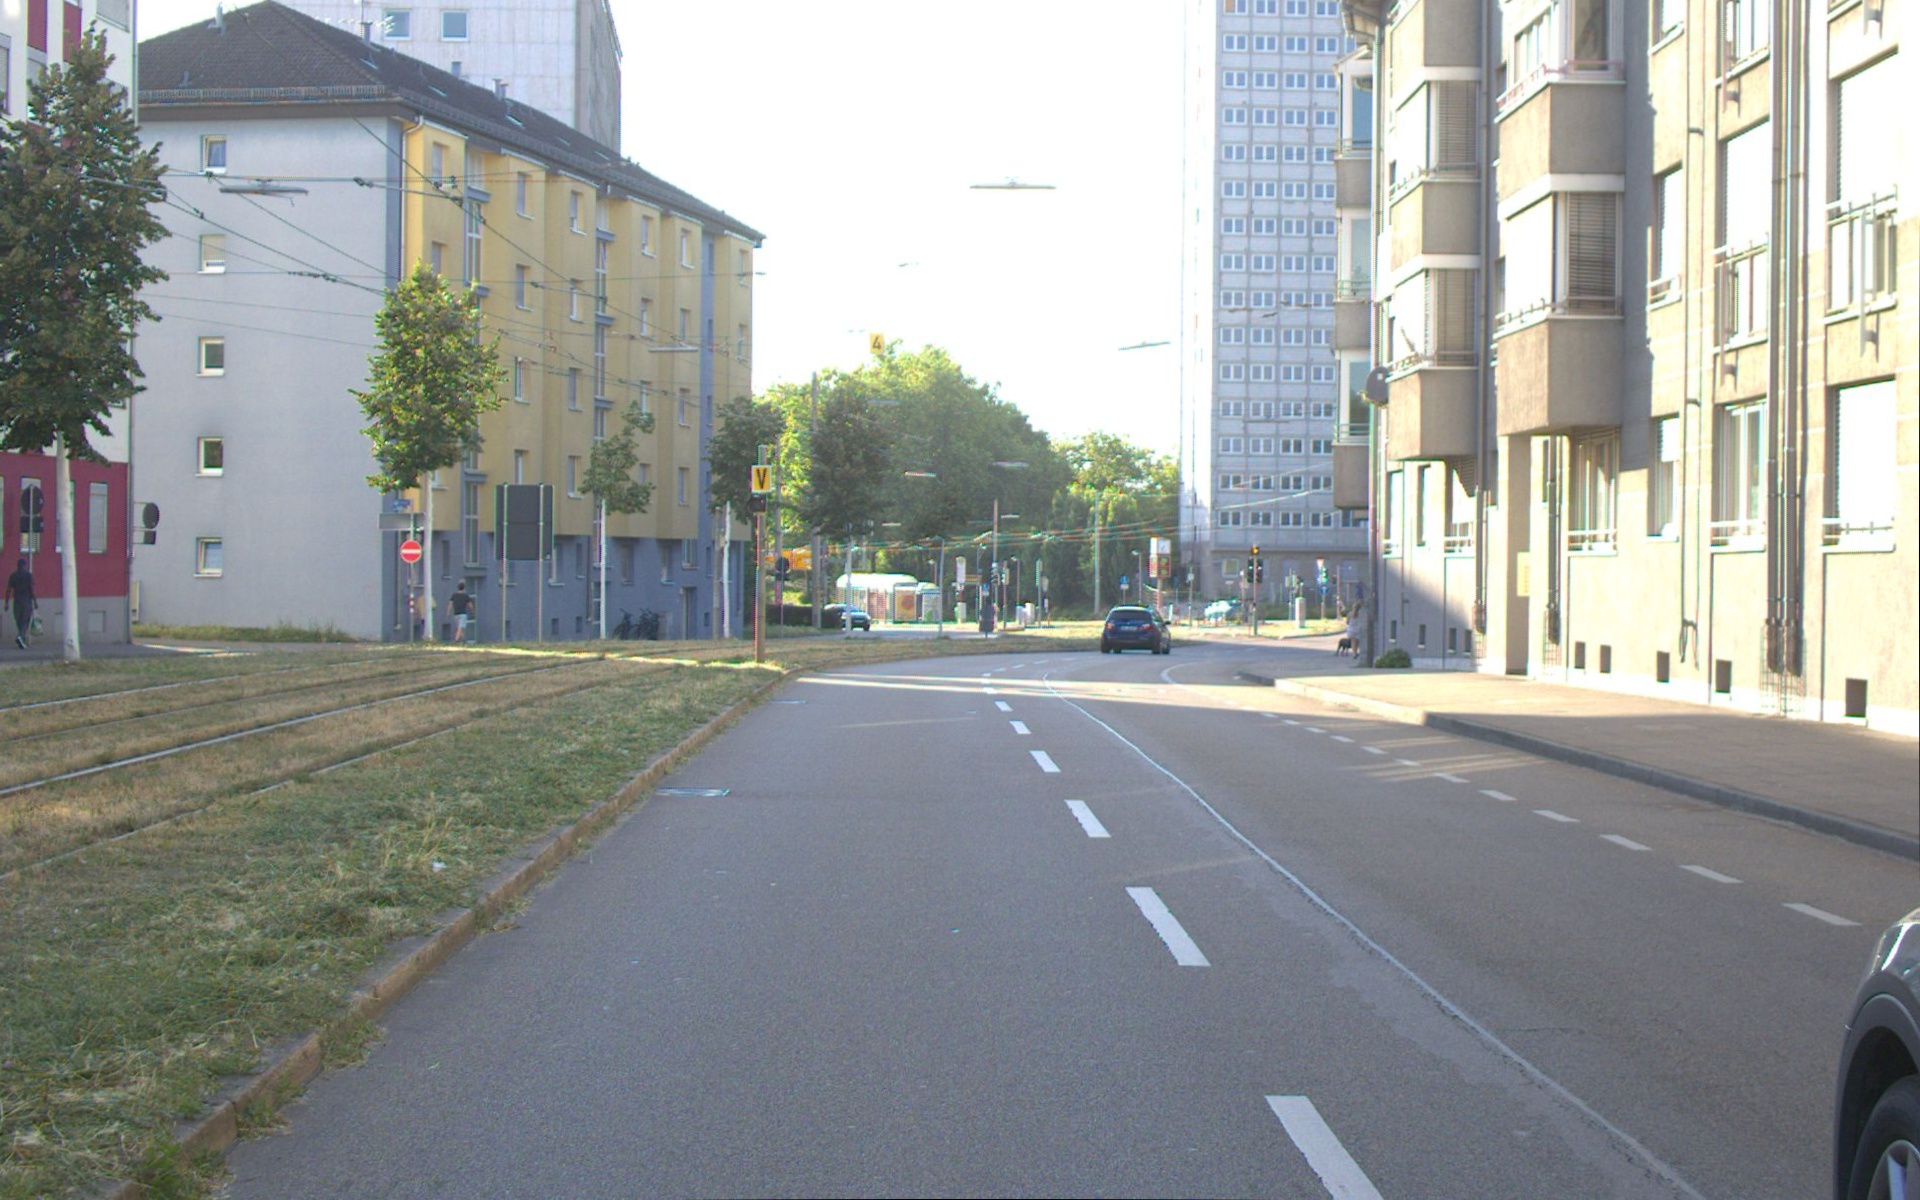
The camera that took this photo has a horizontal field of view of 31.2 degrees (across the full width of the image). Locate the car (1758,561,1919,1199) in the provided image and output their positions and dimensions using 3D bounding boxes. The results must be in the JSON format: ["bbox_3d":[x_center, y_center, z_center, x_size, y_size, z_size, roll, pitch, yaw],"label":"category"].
[{"bbox_3d":[2.334,0.727,4.147,1.697,1.547,4.225,2,-1,-1],"label":"car"}]

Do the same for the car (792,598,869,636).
[{"bbox_3d":[-7.120,0.904,189.095,3.987,2.007,2.000,1,1,5],"label":"car"}]

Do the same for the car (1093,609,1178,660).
[{"bbox_3d":[5.347,1.041,104.247,1.927,1.451,4.325,2,0,11],"label":"car"}]

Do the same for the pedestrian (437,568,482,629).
[{"bbox_3d":[-13.960,-0.035,95.854,0.962,1.664,1.011,2,0,5],"label":"pedestrian"}]

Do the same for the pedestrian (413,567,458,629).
[{"bbox_3d":[-14.645,-0.045,96.008,0.962,1.688,1.011,2,0,5],"label":"pedestrian"}]

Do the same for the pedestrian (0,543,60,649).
[{"bbox_3d":[-18.355,-0.076,67.548,1.005,2.028,0.886,2,0,4],"label":"pedestrian"}]
